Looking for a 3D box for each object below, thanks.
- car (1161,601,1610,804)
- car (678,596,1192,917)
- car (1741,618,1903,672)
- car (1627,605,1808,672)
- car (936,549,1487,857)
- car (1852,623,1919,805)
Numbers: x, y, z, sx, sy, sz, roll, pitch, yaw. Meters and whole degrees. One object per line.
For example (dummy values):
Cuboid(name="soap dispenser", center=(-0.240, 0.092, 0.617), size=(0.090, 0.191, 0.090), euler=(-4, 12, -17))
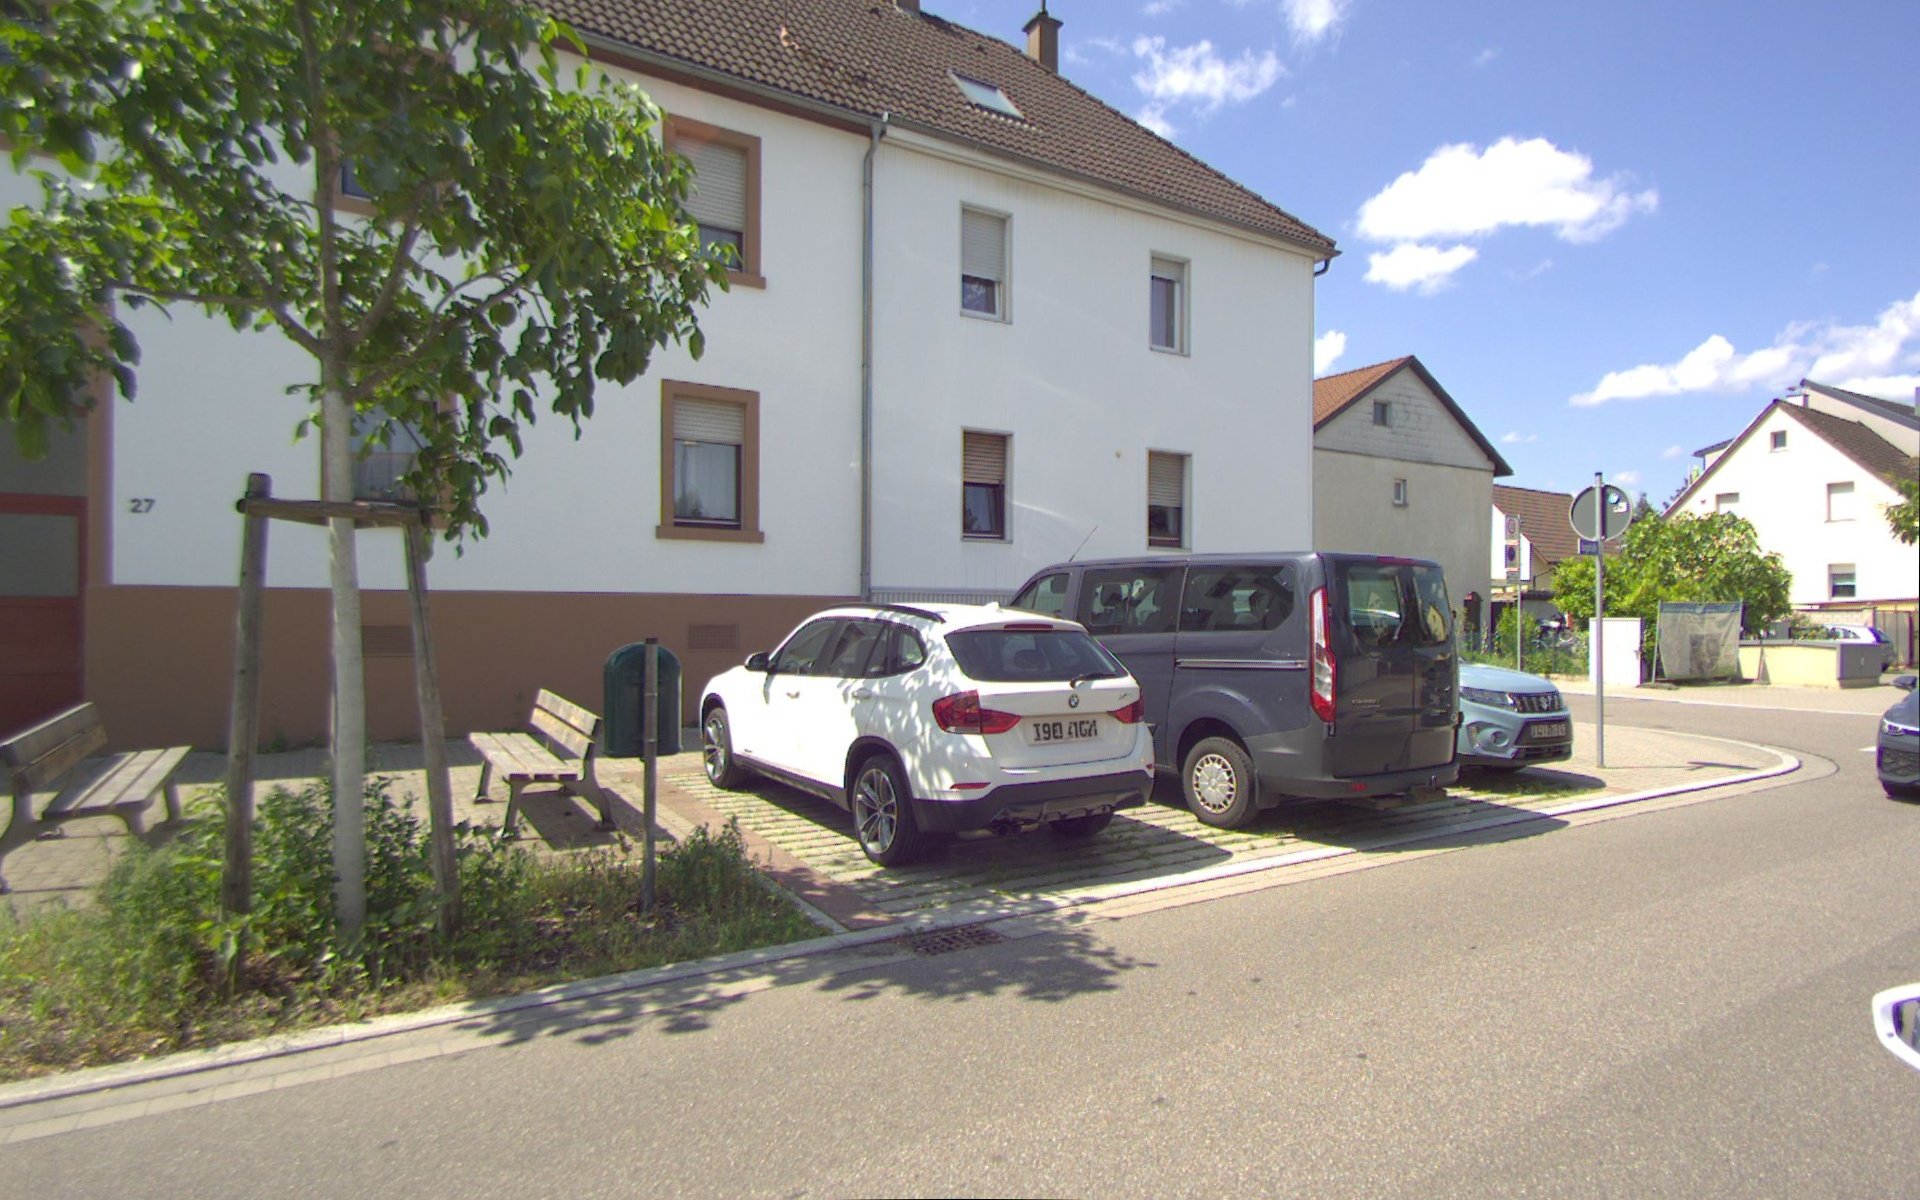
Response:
Cuboid(name="car", center=(4.249, 0.893, 10.727), size=(1.752, 1.641, 4.153), euler=(2, 0, -32))
Cuboid(name="car", center=(-0.489, 0.824, 7.393), size=(1.756, 1.589, 4.155), euler=(2, 0, -35))
Cuboid(name="car", center=(27.351, 1.386, 31.969), size=(1.769, 1.490, 3.511), euler=(1, 1, -27))
Cuboid(name="car", center=(23.130, 1.103, 30.811), size=(1.977, 1.824, 3.967), euler=(1, 1, -30))
Cuboid(name="car", center=(1.810, 0.642, 8.850), size=(1.916, 1.949, 4.674), euler=(2, 0, -32))
Cuboid(name="car", center=(10.049, 0.986, 9.249), size=(4.006, 1.543, 1.752), euler=(1, -3, -33))
